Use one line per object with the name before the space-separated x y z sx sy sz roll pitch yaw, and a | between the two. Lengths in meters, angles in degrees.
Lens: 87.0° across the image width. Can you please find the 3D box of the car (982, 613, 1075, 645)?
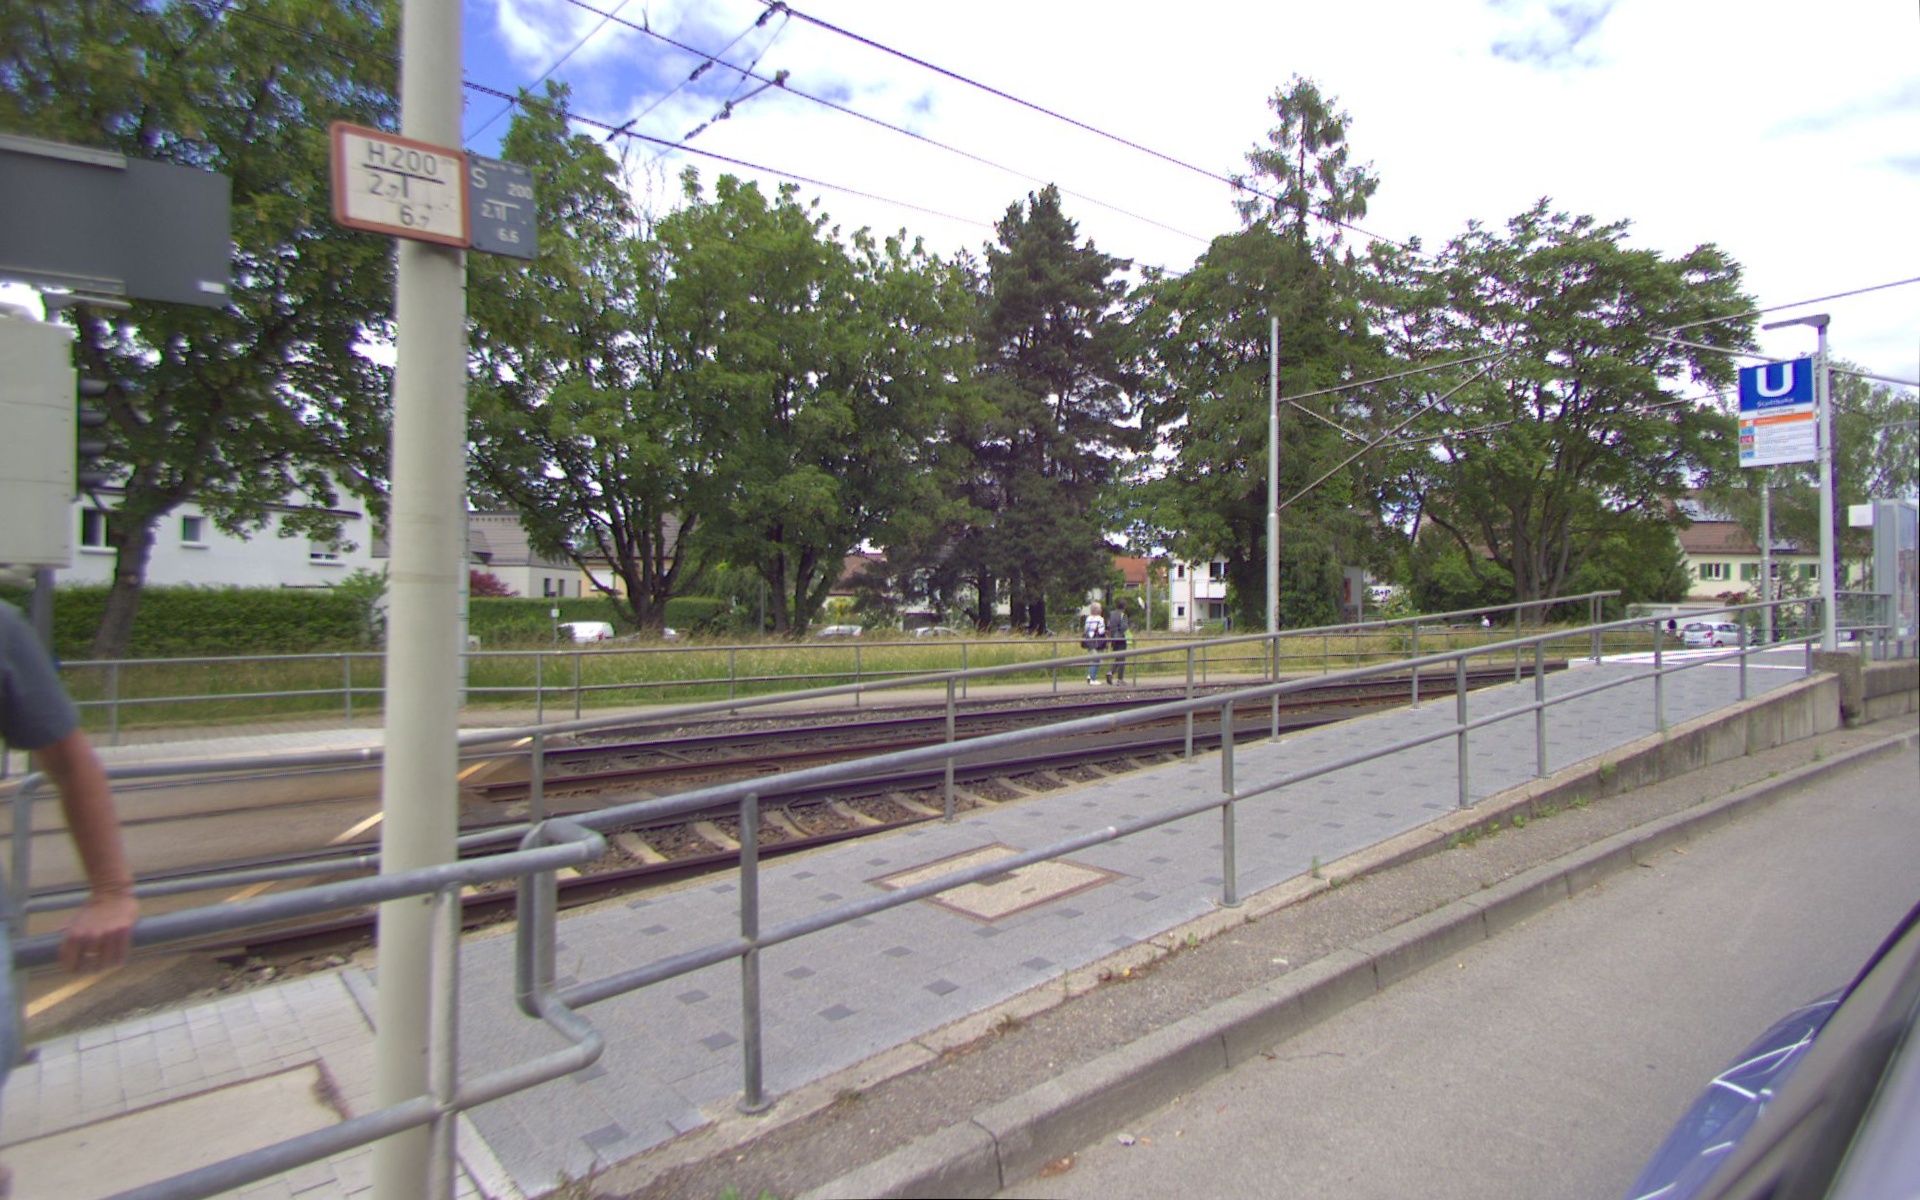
car | 3.194 1.337 47.365 3.916 1.458 1.800 0 -1 -20

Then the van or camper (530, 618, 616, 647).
van or camper | -22.295 1.863 58.400 4.254 1.672 1.997 0 -1 5

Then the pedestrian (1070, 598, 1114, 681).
pedestrian | 2.556 0.750 19.587 0.680 1.581 0.493 1 -1 -38

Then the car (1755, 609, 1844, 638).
car | 41.817 1.165 50.410 3.918 1.366 2.002 1 -1 -27

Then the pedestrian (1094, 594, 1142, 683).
pedestrian | 2.979 0.707 19.100 0.776 1.643 0.493 1 -1 -38

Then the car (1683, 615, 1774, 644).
car | 36.913 1.402 48.626 3.918 1.366 2.002 1 -1 -27

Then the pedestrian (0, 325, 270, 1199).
pedestrian | -1.405 0.549 1.231 0.470 1.750 0.794 -1 1 25

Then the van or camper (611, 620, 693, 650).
van or camper | -17.543 1.974 57.731 3.989 1.672 1.996 0 -1 7

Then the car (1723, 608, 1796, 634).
car | 57.996 1.506 73.419 4.147 1.886 2.003 0 -1 -13
